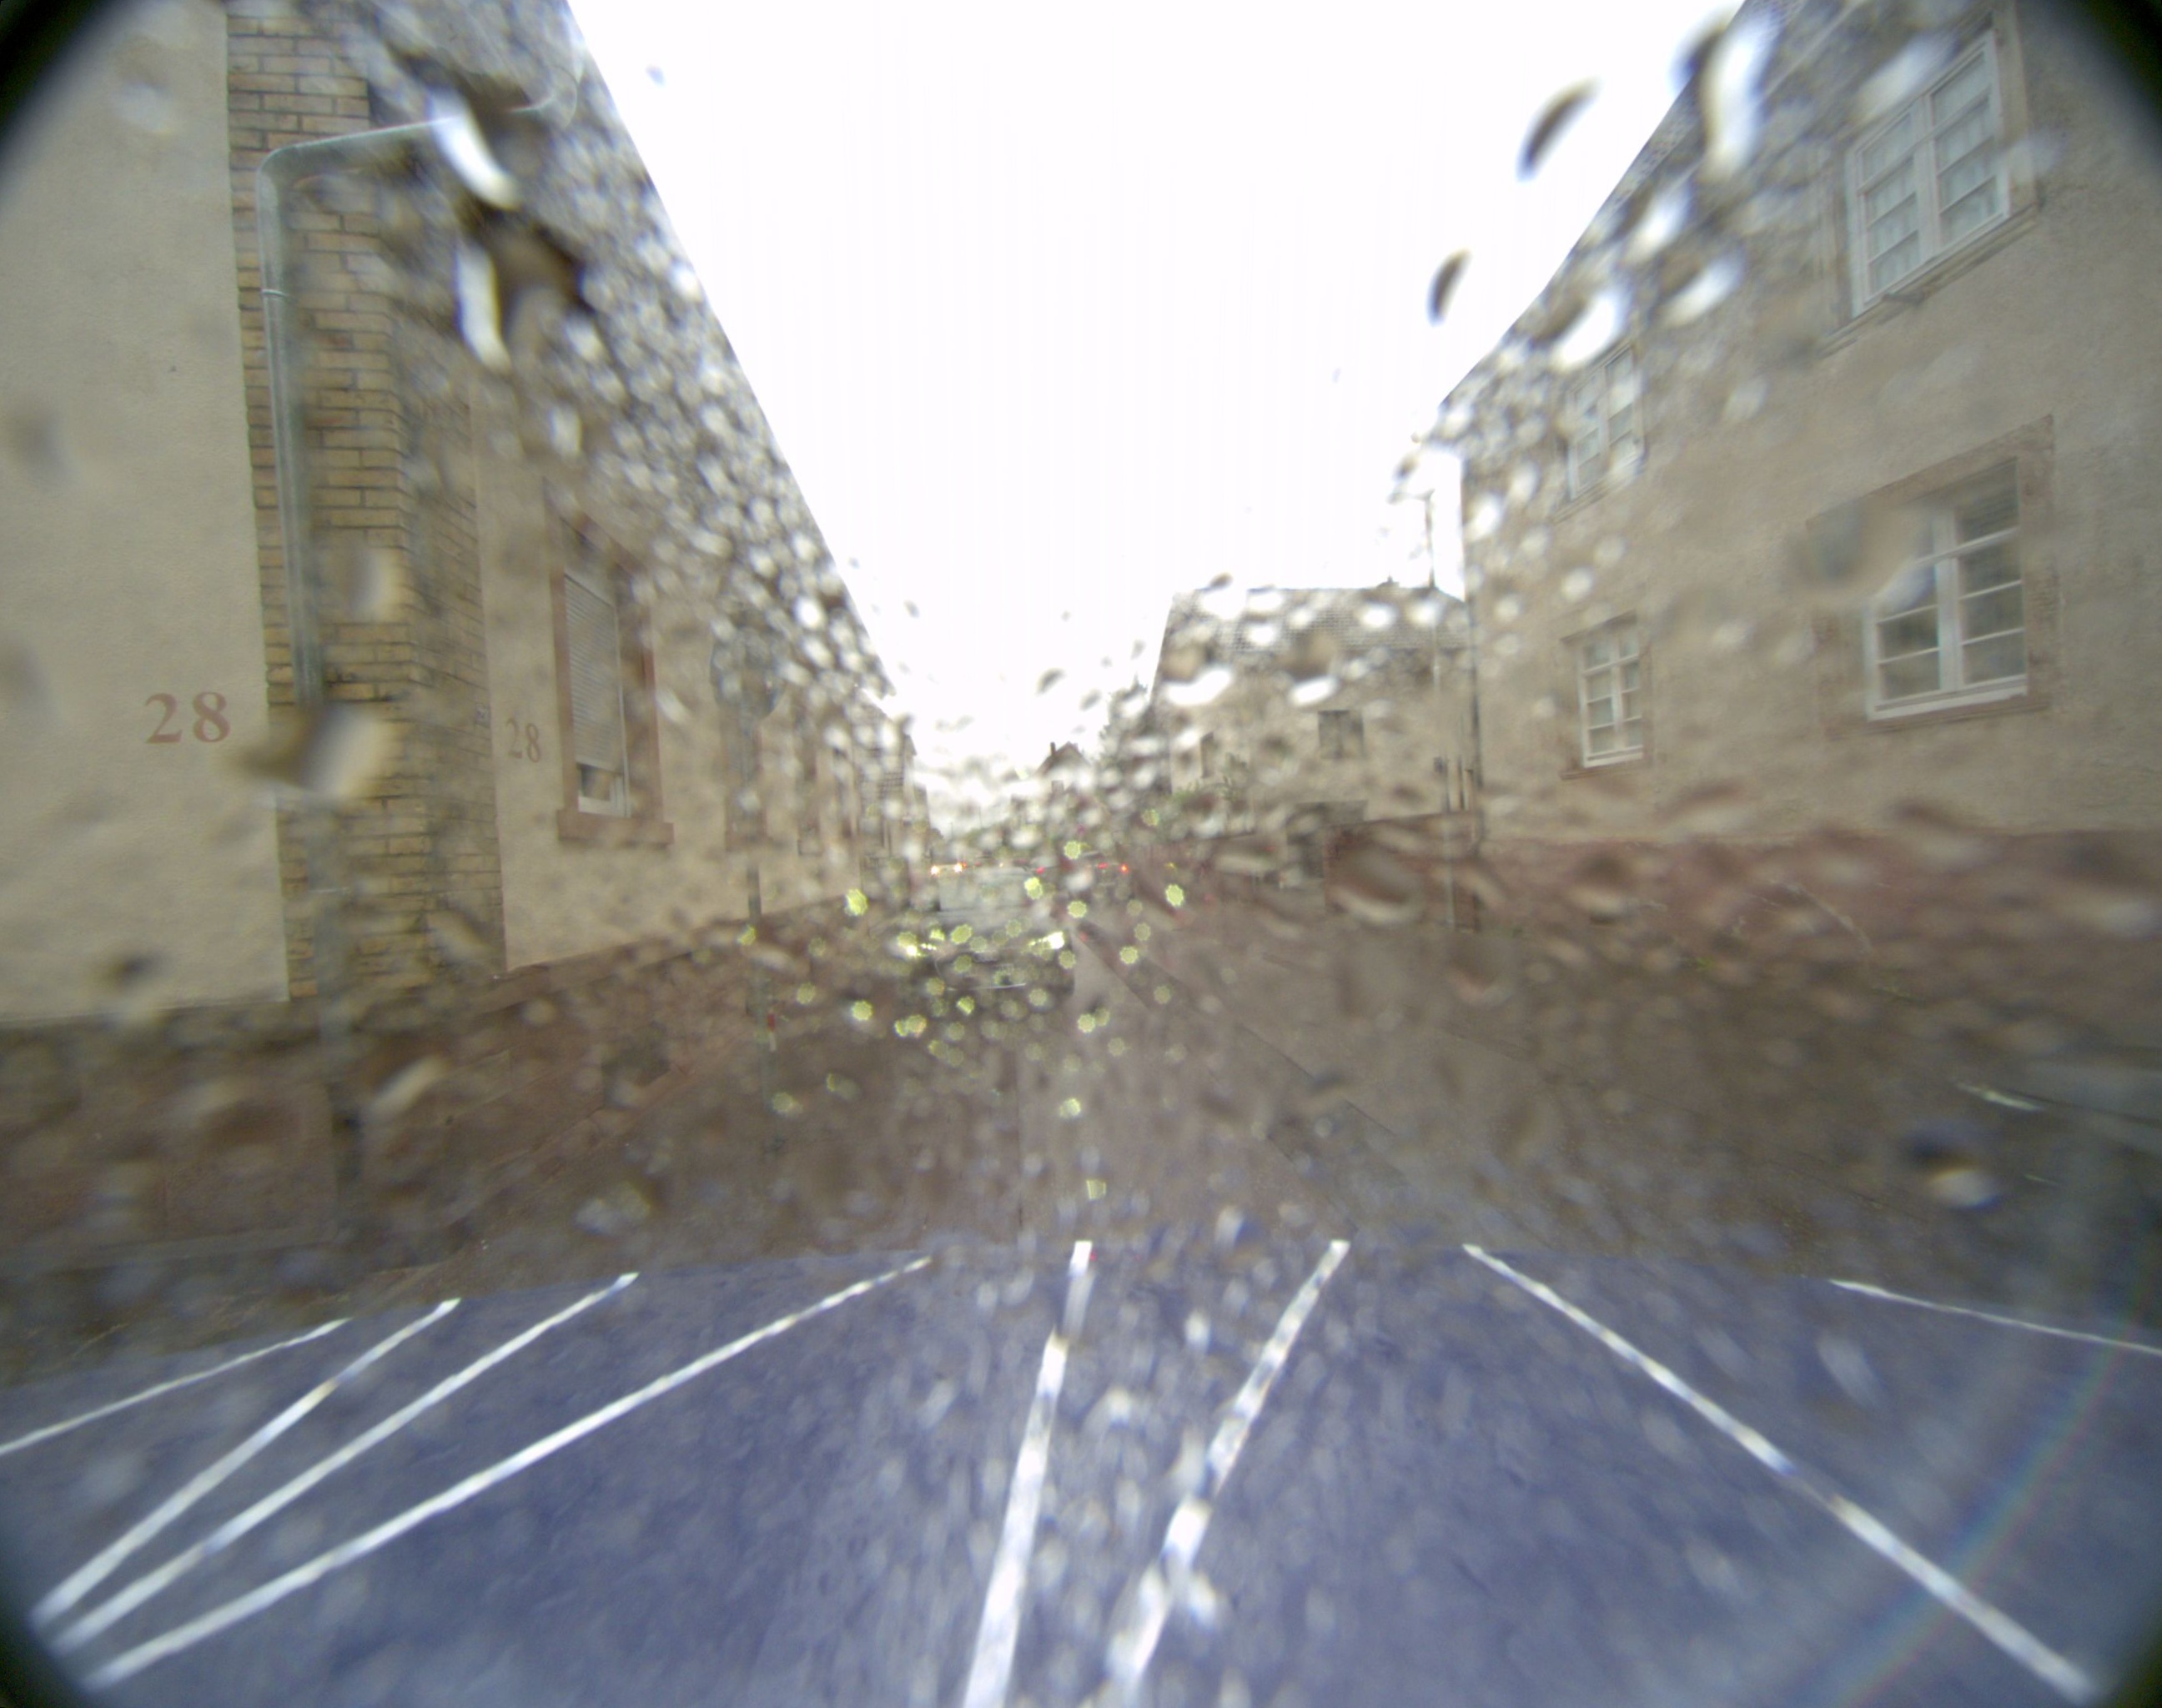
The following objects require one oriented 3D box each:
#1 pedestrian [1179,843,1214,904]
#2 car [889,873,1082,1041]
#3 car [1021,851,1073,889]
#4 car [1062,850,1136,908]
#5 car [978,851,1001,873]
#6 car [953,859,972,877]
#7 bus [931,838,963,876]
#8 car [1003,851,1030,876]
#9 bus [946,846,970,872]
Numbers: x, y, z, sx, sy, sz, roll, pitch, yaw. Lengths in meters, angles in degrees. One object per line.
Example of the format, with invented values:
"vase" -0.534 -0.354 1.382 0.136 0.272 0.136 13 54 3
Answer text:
"pedestrian" 3.081 0.509 20.312 0.573 1.529 0.832 -5 1 -11
"car" -1.170 1.008 9.159 1.740 1.363 4.099 -2 1 -8
"car" -1.586 0.657 33.838 1.701 1.500 4.337 -2 1 -10
"car" 0.446 0.687 22.794 1.609 1.504 3.685 -4 1 -7
"car" -7.798 0.667 64.743 1.786 1.655 4.422 -5 2 -8
"car" -14.396 1.639 92.272 2.000 2.002 3.995 -2 1 -12
"bus" -13.065 0.233 73.678 2.670 3.213 12.179 -2 1 -11
"car" -4.495 0.619 52.710 1.627 1.502 3.790 -6 1 -7
"bus" -16.602 0.625 102.063 2.670 3.213 12.179 -2 1 -11
